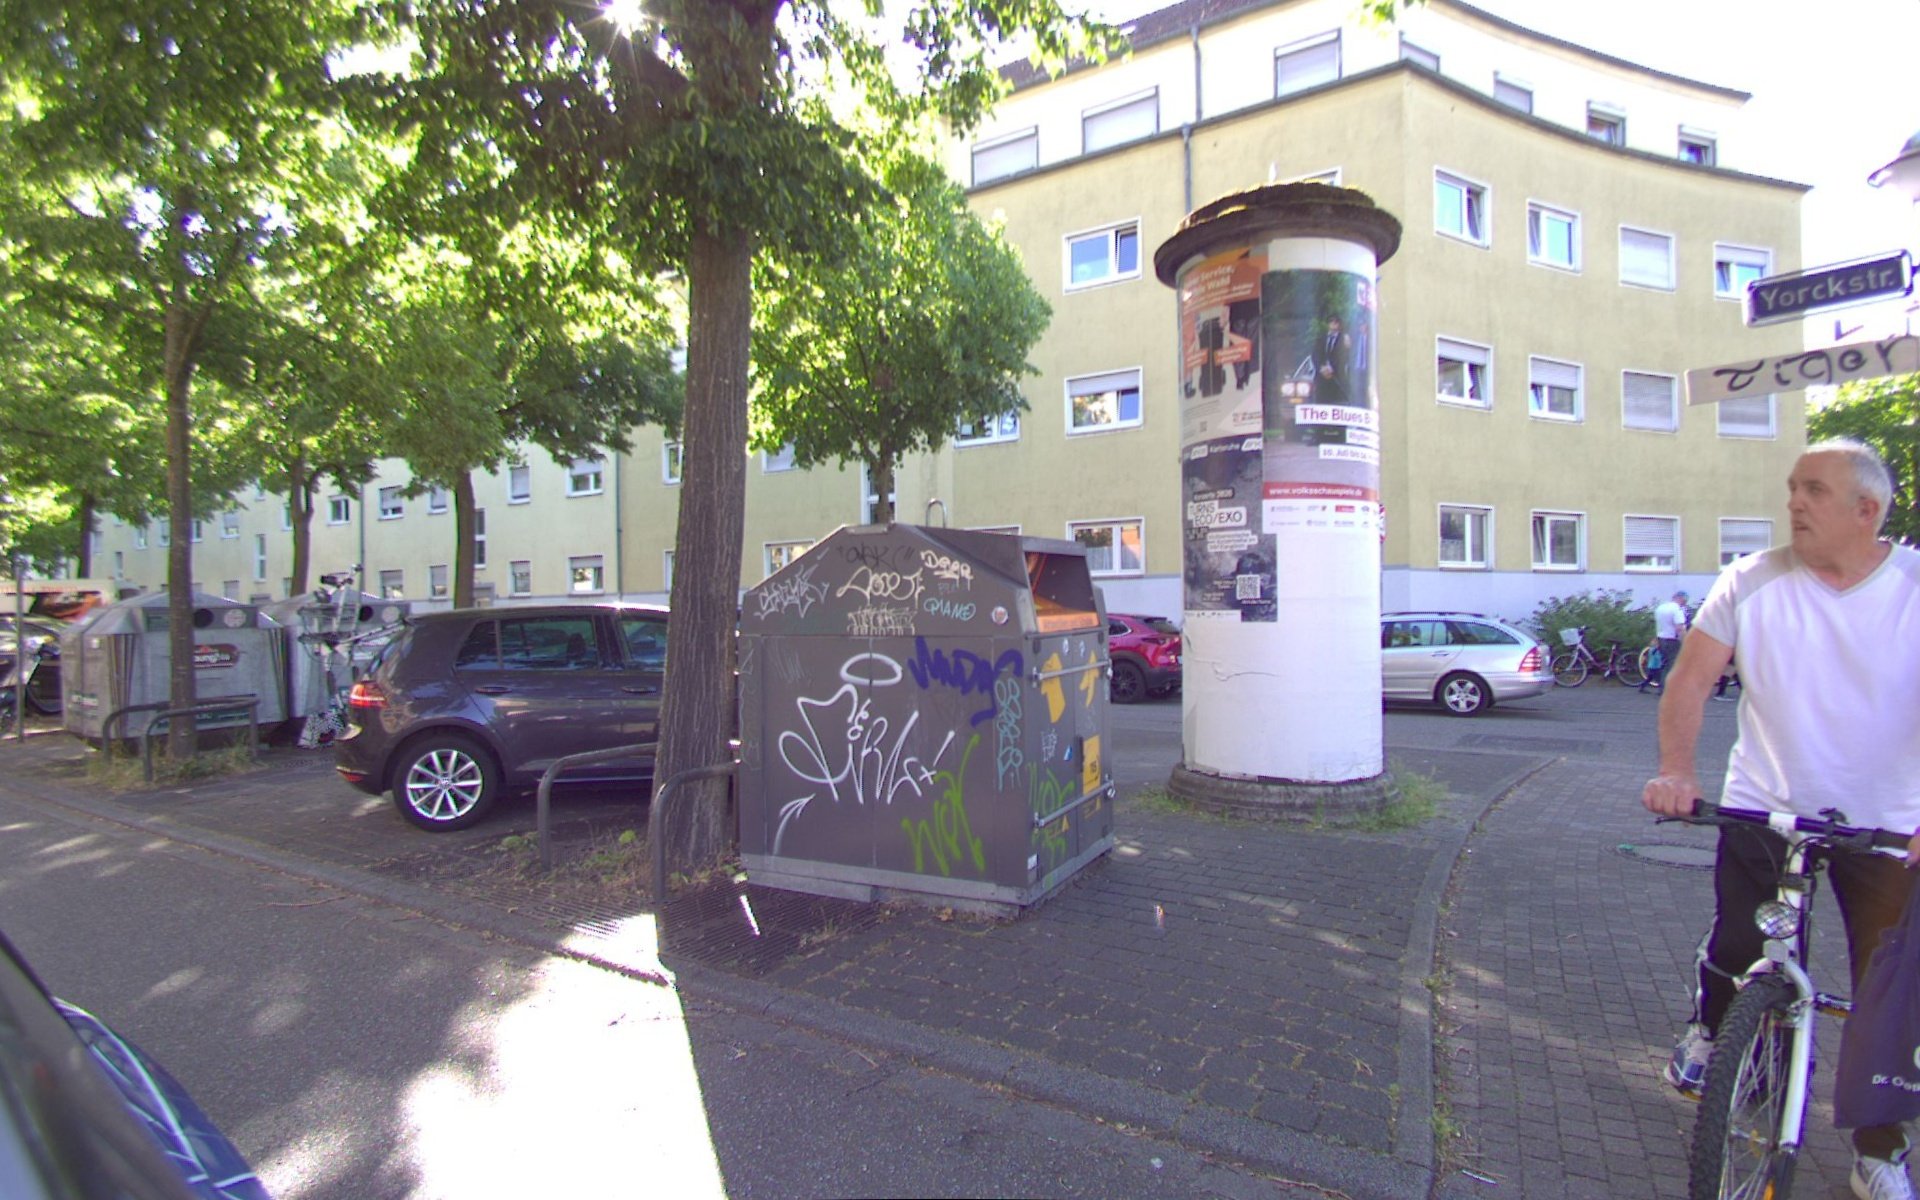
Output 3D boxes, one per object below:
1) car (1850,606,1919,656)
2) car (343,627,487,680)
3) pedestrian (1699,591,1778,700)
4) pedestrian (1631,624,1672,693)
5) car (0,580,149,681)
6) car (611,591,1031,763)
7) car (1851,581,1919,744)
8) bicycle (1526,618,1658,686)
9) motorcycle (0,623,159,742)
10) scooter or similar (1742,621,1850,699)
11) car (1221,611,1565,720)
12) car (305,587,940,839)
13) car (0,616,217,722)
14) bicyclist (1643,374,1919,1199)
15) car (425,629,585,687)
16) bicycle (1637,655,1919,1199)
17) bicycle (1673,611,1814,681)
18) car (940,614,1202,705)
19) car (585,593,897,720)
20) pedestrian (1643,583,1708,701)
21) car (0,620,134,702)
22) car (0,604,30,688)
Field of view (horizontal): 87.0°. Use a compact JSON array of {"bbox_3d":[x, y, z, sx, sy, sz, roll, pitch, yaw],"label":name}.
[{"bbox_3d":[28.361,0.874,29.199,1.779,1.422,3.999,-2,-1,1],"label":"car"},{"bbox_3d":[-16.458,1.590,30.516,4.375,1.450,2.020,-2,-2,34],"label":"car"},{"bbox_3d":[11.507,0.666,14.971,0.690,1.535,0.647,-2,2,14],"label":"pedestrian"},{"bbox_3d":[10.821,0.910,15.834,0.403,1.047,0.375,-2,2,14],"label":"pedestrian"},{"bbox_3d":[-23.954,0.775,25.985,4.515,2.509,1.993,0,-1,-23],"label":"car"},{"bbox_3d":[-1.453,0.696,10.327,3.931,1.484,1.765,-1,-2,-17],"label":"car"},{"bbox_3d":[11.957,0.597,10.095,4.551,1.641,1.733,-1,1,0],"label":"car"},{"bbox_3d":[10.585,0.870,17.015,1.789,1.116,0.496,-2,-2,24],"label":"bicycle"},{"bbox_3d":[-11.171,0.974,12.610,0.721,1.358,1.791,-1,-1,15],"label":"motorcycle"},{"bbox_3d":[12.331,0.875,14.959,0.890,1.030,0.914,-2,2,14],"label":"scooter or similar"},{"bbox_3d":[6.380,0.917,15.131,4.477,1.422,1.713,-2,-2,34],"label":"car"},{"bbox_3d":[-2.290,0.693,7.461,3.932,1.484,1.765,-1,-2,-16],"label":"car"},{"bbox_3d":[-13.705,1.004,15.028,3.931,1.452,1.829,-1,-1,-18],"label":"car"},{"bbox_3d":[2.050,0.425,2.262,0.764,1.709,0.801,-2,-1,39],"label":"bicyclist"},{"bbox_3d":[-12.567,1.549,27.872,4.375,1.450,2.020,-2,-2,34],"label":"car"},{"bbox_3d":[2.214,0.781,2.453,0.764,1.207,1.845,-2,-1,39],"label":"bicycle"},{"bbox_3d":[12.930,0.757,16.741,1.779,1.116,0.499,-1,-1,9],"label":"bicycle"},{"bbox_3d":[1.922,1.012,18.128,4.375,1.450,1.715,-2,-2,34],"label":"car"},{"bbox_3d":[-2.881,0.703,13.959,1.759,1.484,3.945,-2,-2,41],"label":"car"},{"bbox_3d":[10.692,0.622,15.143,0.603,1.705,0.552,-2,2,14],"label":"pedestrian"},{"bbox_3d":[-18.361,1.148,19.078,3.931,1.464,1.829,-1,-1,-18],"label":"car"},{"bbox_3d":[-23.679,1.067,22.560,3.931,1.913,1.829,-1,-1,-18],"label":"car"}]
